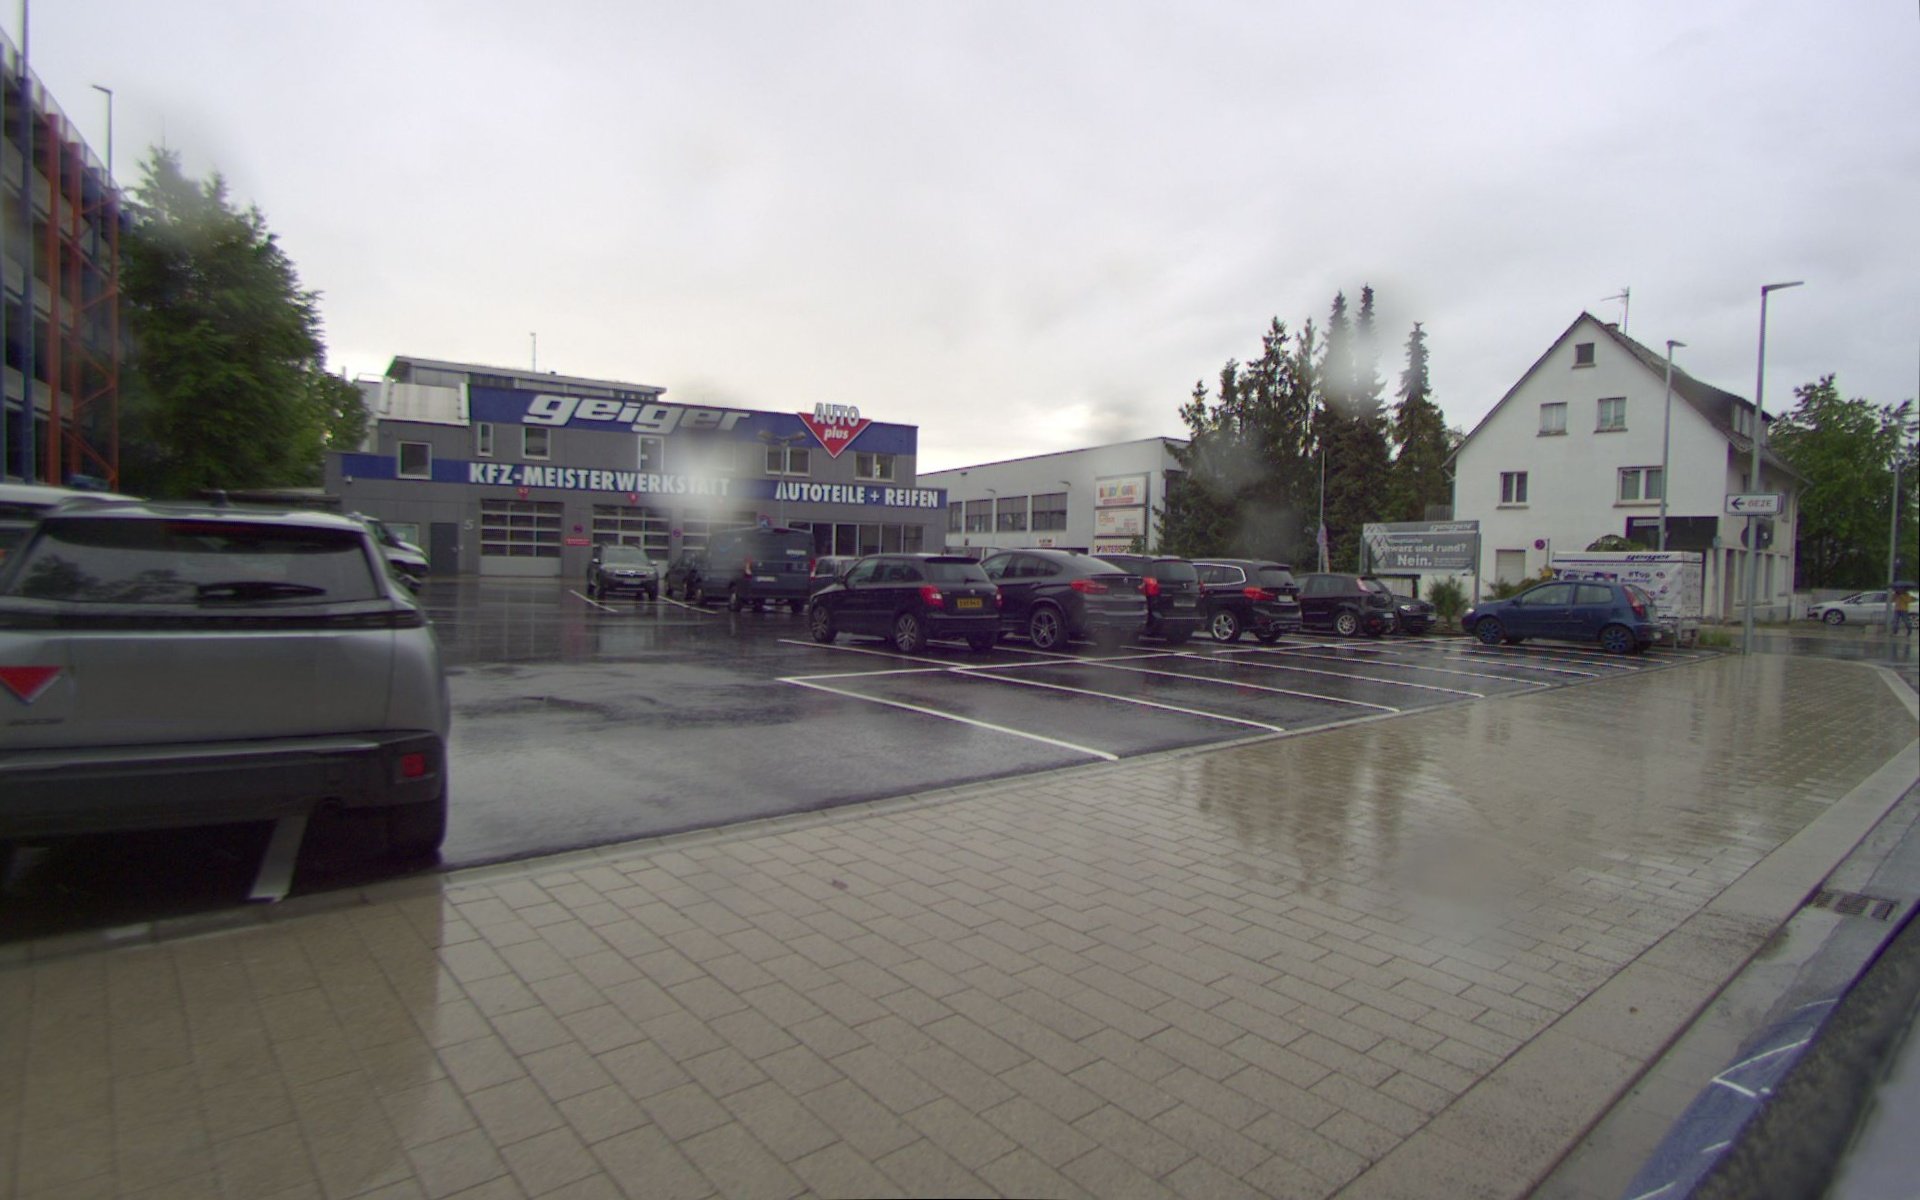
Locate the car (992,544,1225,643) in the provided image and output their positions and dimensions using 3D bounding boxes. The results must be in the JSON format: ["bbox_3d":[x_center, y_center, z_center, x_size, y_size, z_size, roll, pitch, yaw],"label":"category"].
[{"bbox_3d":[2.736,-0.203,19.536,1.754,1.679,4.365,0,3,-40],"label":"car"}]

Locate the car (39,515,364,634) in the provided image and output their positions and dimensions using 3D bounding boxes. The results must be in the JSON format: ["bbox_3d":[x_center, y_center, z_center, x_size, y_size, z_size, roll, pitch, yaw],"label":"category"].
[{"bbox_3d":[-11.850,-0.381,16.165,3.919,1.699,1.739,1,3,-29],"label":"car"}]

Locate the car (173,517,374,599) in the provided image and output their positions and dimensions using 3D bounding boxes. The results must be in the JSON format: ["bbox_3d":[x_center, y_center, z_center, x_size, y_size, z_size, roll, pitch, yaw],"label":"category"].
[{"bbox_3d":[-16.716,-1.018,24.904,3.921,1.837,1.899,-2,0,-30],"label":"car"}]

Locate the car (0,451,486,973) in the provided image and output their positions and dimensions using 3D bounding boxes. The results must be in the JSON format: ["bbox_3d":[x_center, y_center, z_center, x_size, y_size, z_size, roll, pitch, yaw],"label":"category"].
[{"bbox_3d":[-3.773,0.215,5.244,1.960,1.669,4.228,0,4,-31],"label":"car"}]

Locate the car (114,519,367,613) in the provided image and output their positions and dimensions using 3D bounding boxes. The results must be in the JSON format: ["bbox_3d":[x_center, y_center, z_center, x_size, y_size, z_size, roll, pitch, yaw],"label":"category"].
[{"bbox_3d":[-14.210,-0.658,20.281,3.919,1.699,1.739,1,3,-29],"label":"car"}]

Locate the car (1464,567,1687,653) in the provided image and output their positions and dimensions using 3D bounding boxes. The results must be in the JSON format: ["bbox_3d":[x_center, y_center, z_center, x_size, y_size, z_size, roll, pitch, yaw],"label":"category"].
[{"bbox_3d":[13.104,0.137,21.710,1.621,1.547,3.734,-1,4,-40],"label":"car"}]

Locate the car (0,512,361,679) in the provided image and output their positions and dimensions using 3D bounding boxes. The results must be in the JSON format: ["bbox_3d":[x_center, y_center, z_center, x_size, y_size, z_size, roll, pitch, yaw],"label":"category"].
[{"bbox_3d":[-8.380,-0.073,10.047,4.124,1.460,1.940,0,2,-33],"label":"car"}]

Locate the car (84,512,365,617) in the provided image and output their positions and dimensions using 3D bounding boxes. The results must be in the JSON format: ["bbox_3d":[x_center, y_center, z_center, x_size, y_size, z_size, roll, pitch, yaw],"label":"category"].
[{"bbox_3d":[-13.169,-0.625,18.436,3.919,1.699,1.739,1,3,-29],"label":"car"}]

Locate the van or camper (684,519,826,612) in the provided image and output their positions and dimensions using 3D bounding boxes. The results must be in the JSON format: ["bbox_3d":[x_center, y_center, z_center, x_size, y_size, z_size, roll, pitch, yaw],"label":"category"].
[{"bbox_3d":[-5.858,-1.030,28.406,2.179,2.354,4.976,1,3,-33],"label":"van or camper"}]

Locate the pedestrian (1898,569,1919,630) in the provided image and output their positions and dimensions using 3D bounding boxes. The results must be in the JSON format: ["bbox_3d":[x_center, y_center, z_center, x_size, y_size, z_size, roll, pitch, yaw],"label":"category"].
[{"bbox_3d":[32.908,0.002,34.709,1.175,2.037,0.860,0,4,-43],"label":"pedestrian"}]

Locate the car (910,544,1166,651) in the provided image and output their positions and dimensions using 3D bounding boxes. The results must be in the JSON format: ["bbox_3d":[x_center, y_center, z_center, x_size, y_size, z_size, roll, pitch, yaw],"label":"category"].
[{"bbox_3d":[1.219,-0.131,17.554,1.808,1.578,4.362,0,3,-42],"label":"car"}]

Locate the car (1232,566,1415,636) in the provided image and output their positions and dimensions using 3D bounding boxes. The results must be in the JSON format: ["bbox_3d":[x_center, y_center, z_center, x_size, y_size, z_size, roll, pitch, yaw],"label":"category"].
[{"bbox_3d":[8.585,-0.022,24.105,1.702,1.467,3.730,0,3,-44],"label":"car"}]

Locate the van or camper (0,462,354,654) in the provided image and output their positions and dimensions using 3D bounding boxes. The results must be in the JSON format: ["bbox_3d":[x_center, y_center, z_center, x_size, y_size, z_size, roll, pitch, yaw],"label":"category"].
[{"bbox_3d":[-9.860,-0.477,12.139,4.372,2.062,1.846,0,2,-30],"label":"van or camper"}]

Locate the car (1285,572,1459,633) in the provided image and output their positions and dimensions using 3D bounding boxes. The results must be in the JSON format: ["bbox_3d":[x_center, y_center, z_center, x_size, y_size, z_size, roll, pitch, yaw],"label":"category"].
[{"bbox_3d":[10.389,0.014,25.714,1.665,1.331,3.730,0,3,-44],"label":"car"}]

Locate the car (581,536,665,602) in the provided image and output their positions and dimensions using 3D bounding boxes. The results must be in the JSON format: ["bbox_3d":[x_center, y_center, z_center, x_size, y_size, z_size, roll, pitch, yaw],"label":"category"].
[{"bbox_3d":[-10.627,-0.928,31.779,1.905,1.839,4.005,-2,0,-27],"label":"car"}]

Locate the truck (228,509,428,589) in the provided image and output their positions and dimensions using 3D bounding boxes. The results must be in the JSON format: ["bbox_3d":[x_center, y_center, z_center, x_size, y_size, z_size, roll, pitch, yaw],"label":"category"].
[{"bbox_3d":[-20.024,-1.615,32.305,5.203,2.298,2.001,-2,0,-31],"label":"truck"}]

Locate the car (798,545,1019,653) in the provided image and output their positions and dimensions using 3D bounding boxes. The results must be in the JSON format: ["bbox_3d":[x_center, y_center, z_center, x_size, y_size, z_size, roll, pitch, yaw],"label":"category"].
[{"bbox_3d":[-0.925,-0.091,16.177,1.613,1.519,3.695,0,2,-40],"label":"car"}]

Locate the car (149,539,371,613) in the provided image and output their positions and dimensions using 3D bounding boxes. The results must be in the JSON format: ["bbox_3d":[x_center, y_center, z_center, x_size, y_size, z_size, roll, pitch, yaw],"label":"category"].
[{"bbox_3d":[-15.525,-0.556,22.729,3.921,1.505,1.899,-2,0,-30],"label":"car"}]

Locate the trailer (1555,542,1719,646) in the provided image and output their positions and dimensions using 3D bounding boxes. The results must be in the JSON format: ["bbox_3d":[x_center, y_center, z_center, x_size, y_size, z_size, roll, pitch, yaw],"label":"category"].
[{"bbox_3d":[15.266,-0.180,22.887,1.520,2.198,2.709,0,2,-39],"label":"trailer"}]

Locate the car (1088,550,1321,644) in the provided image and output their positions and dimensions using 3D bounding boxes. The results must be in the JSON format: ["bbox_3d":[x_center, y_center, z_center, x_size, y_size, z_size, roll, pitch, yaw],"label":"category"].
[{"bbox_3d":[4.904,-0.136,20.761,1.814,1.672,4.361,0,3,-43],"label":"car"}]

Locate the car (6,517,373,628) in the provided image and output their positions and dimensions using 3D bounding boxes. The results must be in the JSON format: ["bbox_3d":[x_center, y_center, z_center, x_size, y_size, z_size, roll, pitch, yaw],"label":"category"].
[{"bbox_3d":[-10.659,-0.369,14.353,3.922,1.370,1.737,1,3,-34],"label":"car"}]

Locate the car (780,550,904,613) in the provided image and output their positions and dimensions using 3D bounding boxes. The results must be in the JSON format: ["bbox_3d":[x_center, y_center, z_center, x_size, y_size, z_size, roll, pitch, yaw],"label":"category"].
[{"bbox_3d":[-3.491,-0.575,29.130,1.828,1.602,4.375,1,3,-32],"label":"car"}]

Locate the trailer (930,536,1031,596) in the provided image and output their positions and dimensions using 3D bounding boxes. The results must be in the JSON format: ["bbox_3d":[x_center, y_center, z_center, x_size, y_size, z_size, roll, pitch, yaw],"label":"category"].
[{"bbox_3d":[0.955,-1.702,52.070,2.875,2.770,5.898,-2,0,-24],"label":"trailer"}]

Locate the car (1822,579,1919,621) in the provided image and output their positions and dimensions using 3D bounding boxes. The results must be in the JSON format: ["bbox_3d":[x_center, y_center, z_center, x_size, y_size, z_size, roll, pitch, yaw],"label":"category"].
[{"bbox_3d":[40.891,0.019,44.620,4.118,1.599,1.975,5,3,35],"label":"car"}]
